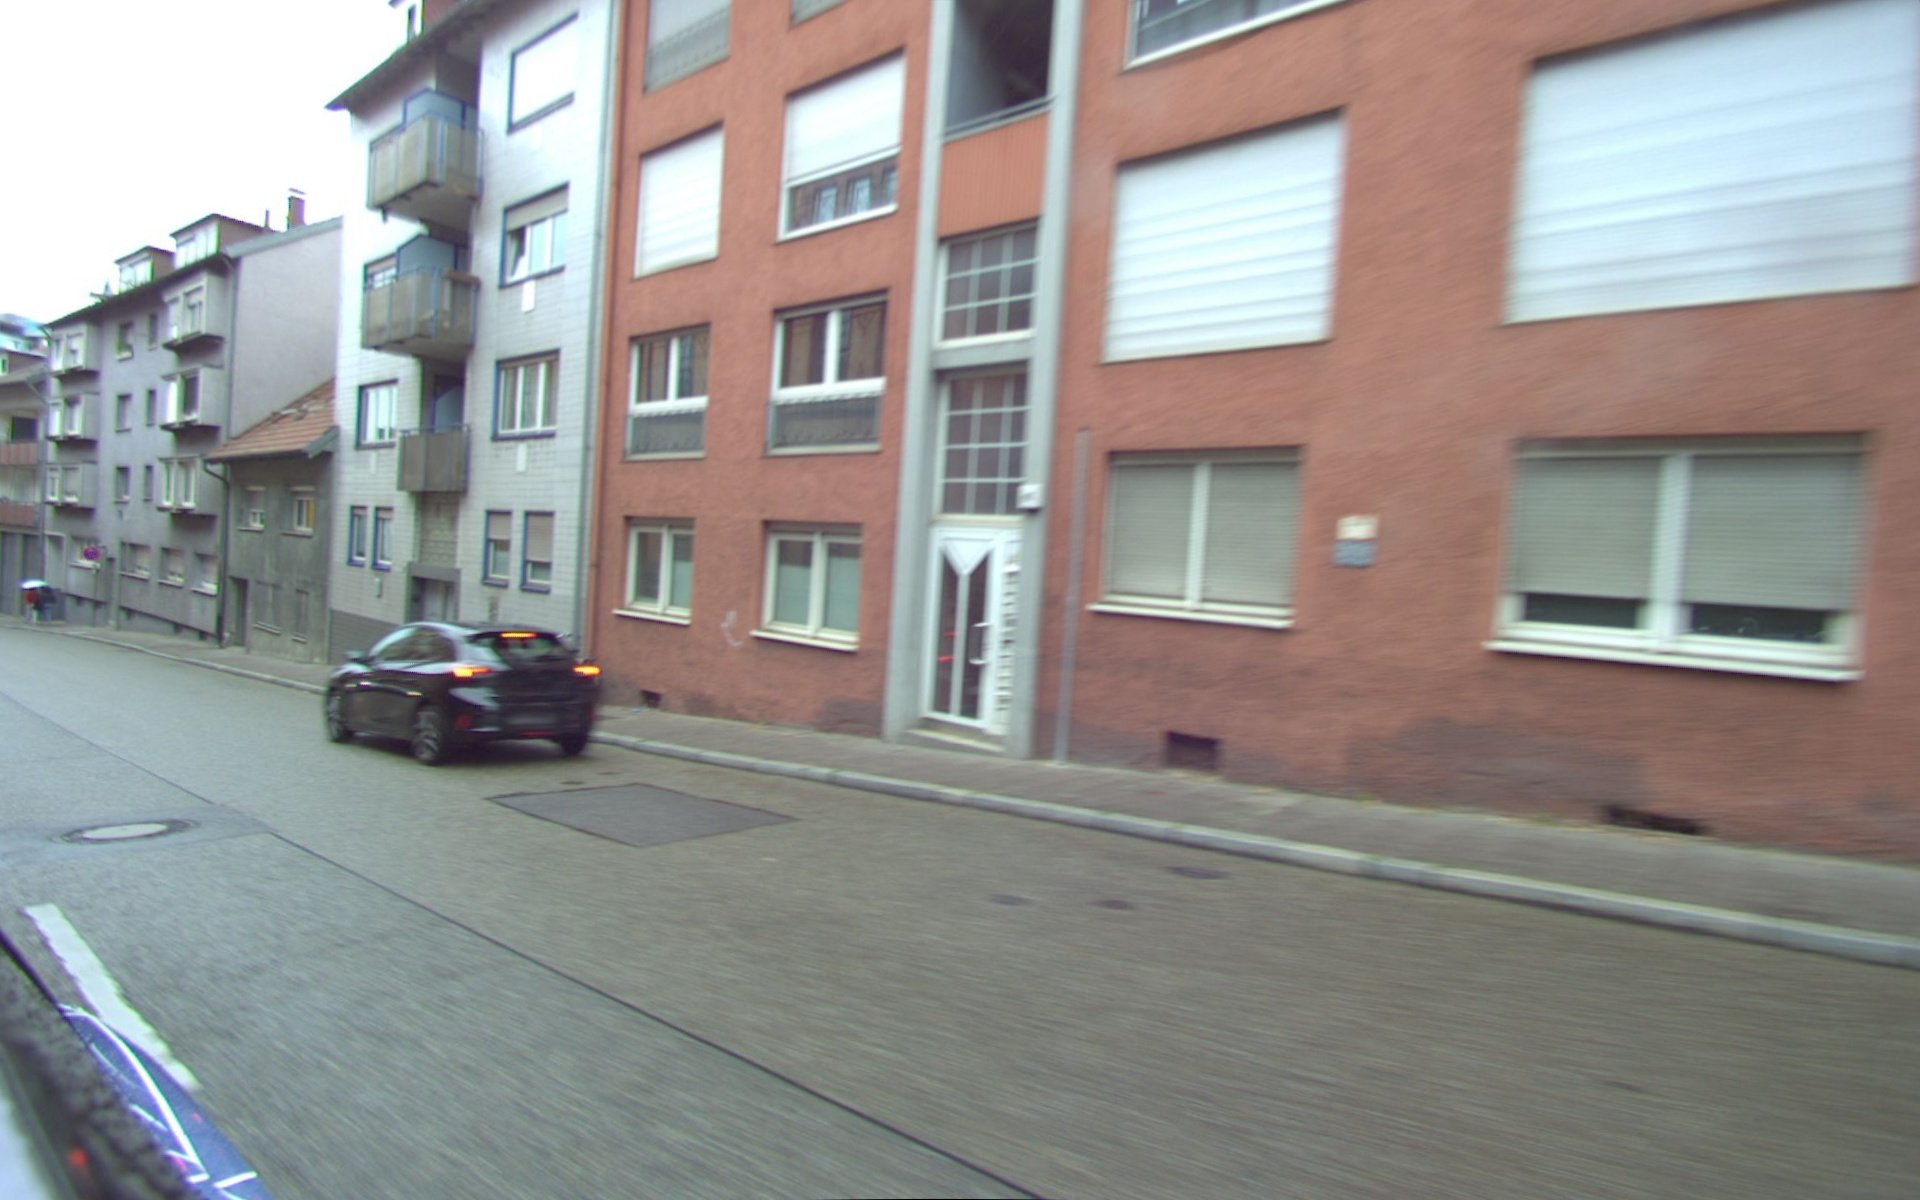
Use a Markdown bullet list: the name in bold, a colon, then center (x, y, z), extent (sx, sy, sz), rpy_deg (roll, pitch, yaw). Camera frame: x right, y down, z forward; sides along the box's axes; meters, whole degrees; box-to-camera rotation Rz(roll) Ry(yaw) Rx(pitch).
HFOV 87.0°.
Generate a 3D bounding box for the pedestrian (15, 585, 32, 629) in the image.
- **pedestrian**: center (-38.806, 0.292, 41.928), extent (0.498, 1.793, 0.382), rpy_deg (0, 0, 32)

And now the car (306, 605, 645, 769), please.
- **car**: center (-5.524, 0.866, 11.355), extent (3.999, 1.490, 1.972), rpy_deg (0, -4, 42)

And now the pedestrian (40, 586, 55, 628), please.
- **pedestrian**: center (-38.394, 0.288, 42.598), extent (0.498, 1.793, 0.351), rpy_deg (0, 0, 32)

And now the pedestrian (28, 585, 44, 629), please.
- **pedestrian**: center (-38.597, 0.290, 42.264), extent (0.498, 1.793, 0.377), rpy_deg (0, 0, 32)
